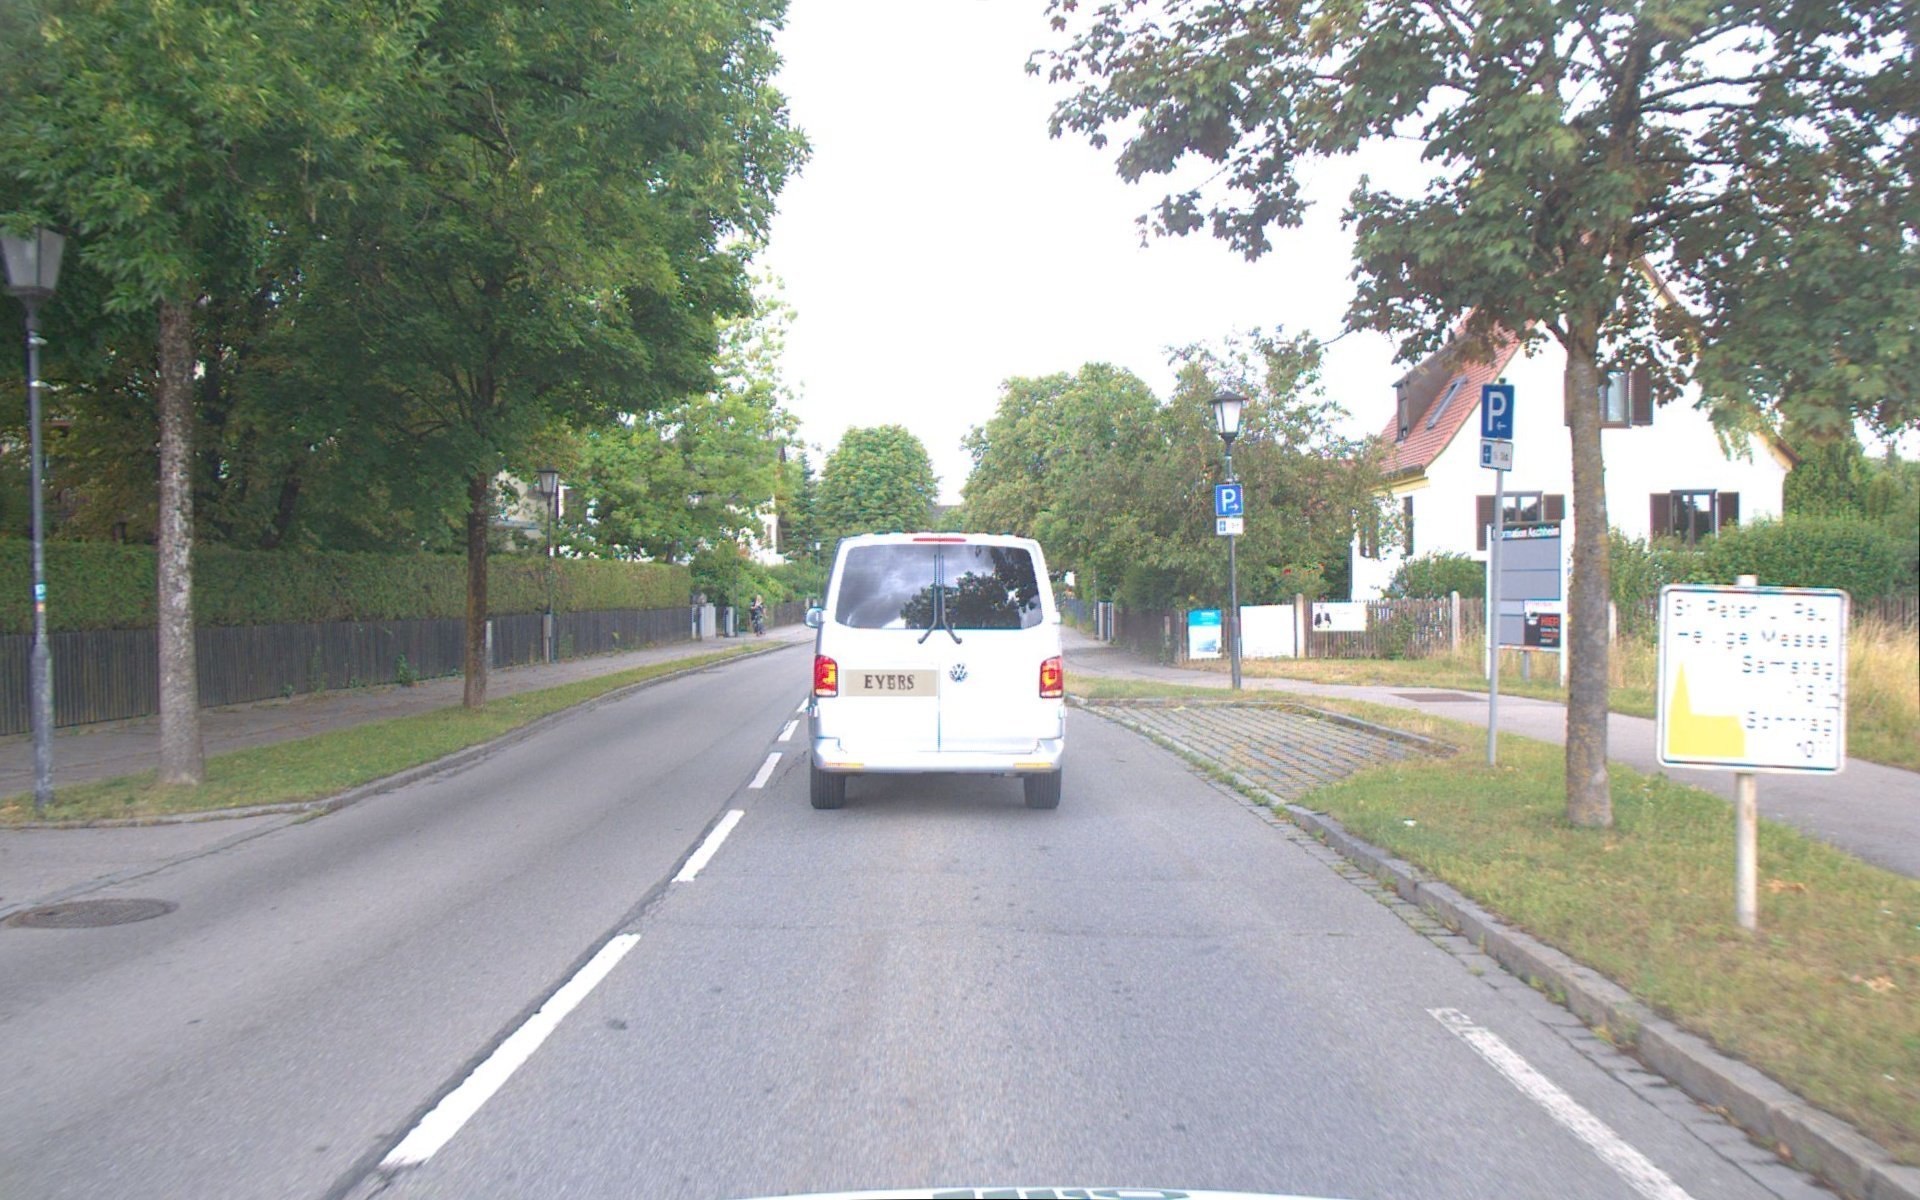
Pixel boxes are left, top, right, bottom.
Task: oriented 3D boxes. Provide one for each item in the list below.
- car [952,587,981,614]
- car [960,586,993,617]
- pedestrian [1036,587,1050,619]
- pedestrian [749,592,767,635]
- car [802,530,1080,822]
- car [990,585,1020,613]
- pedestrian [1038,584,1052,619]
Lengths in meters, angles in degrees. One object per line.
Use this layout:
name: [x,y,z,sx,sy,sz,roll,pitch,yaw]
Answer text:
car: [0.558,0.035,130.560,1.951,2.049,4.002,-1,0,5]
car: [1.153,0.093,113.392,1.952,2.049,4.002,-1,0,4]
pedestrian: [4.047,0.127,80.556,0.610,1.550,0.579,1,0,-3]
pedestrian: [-7.574,0.509,61.947,0.610,1.576,0.522,1,0,-3]
car: [-0.119,0.509,13.078,1.849,1.945,4.000,0,0,0]
car: [3.484,-0.070,127.636,1.951,2.049,4.003,-1,0,7]
pedestrian: [3.800,0.068,73.759,0.540,1.576,0.611,1,0,-3]
